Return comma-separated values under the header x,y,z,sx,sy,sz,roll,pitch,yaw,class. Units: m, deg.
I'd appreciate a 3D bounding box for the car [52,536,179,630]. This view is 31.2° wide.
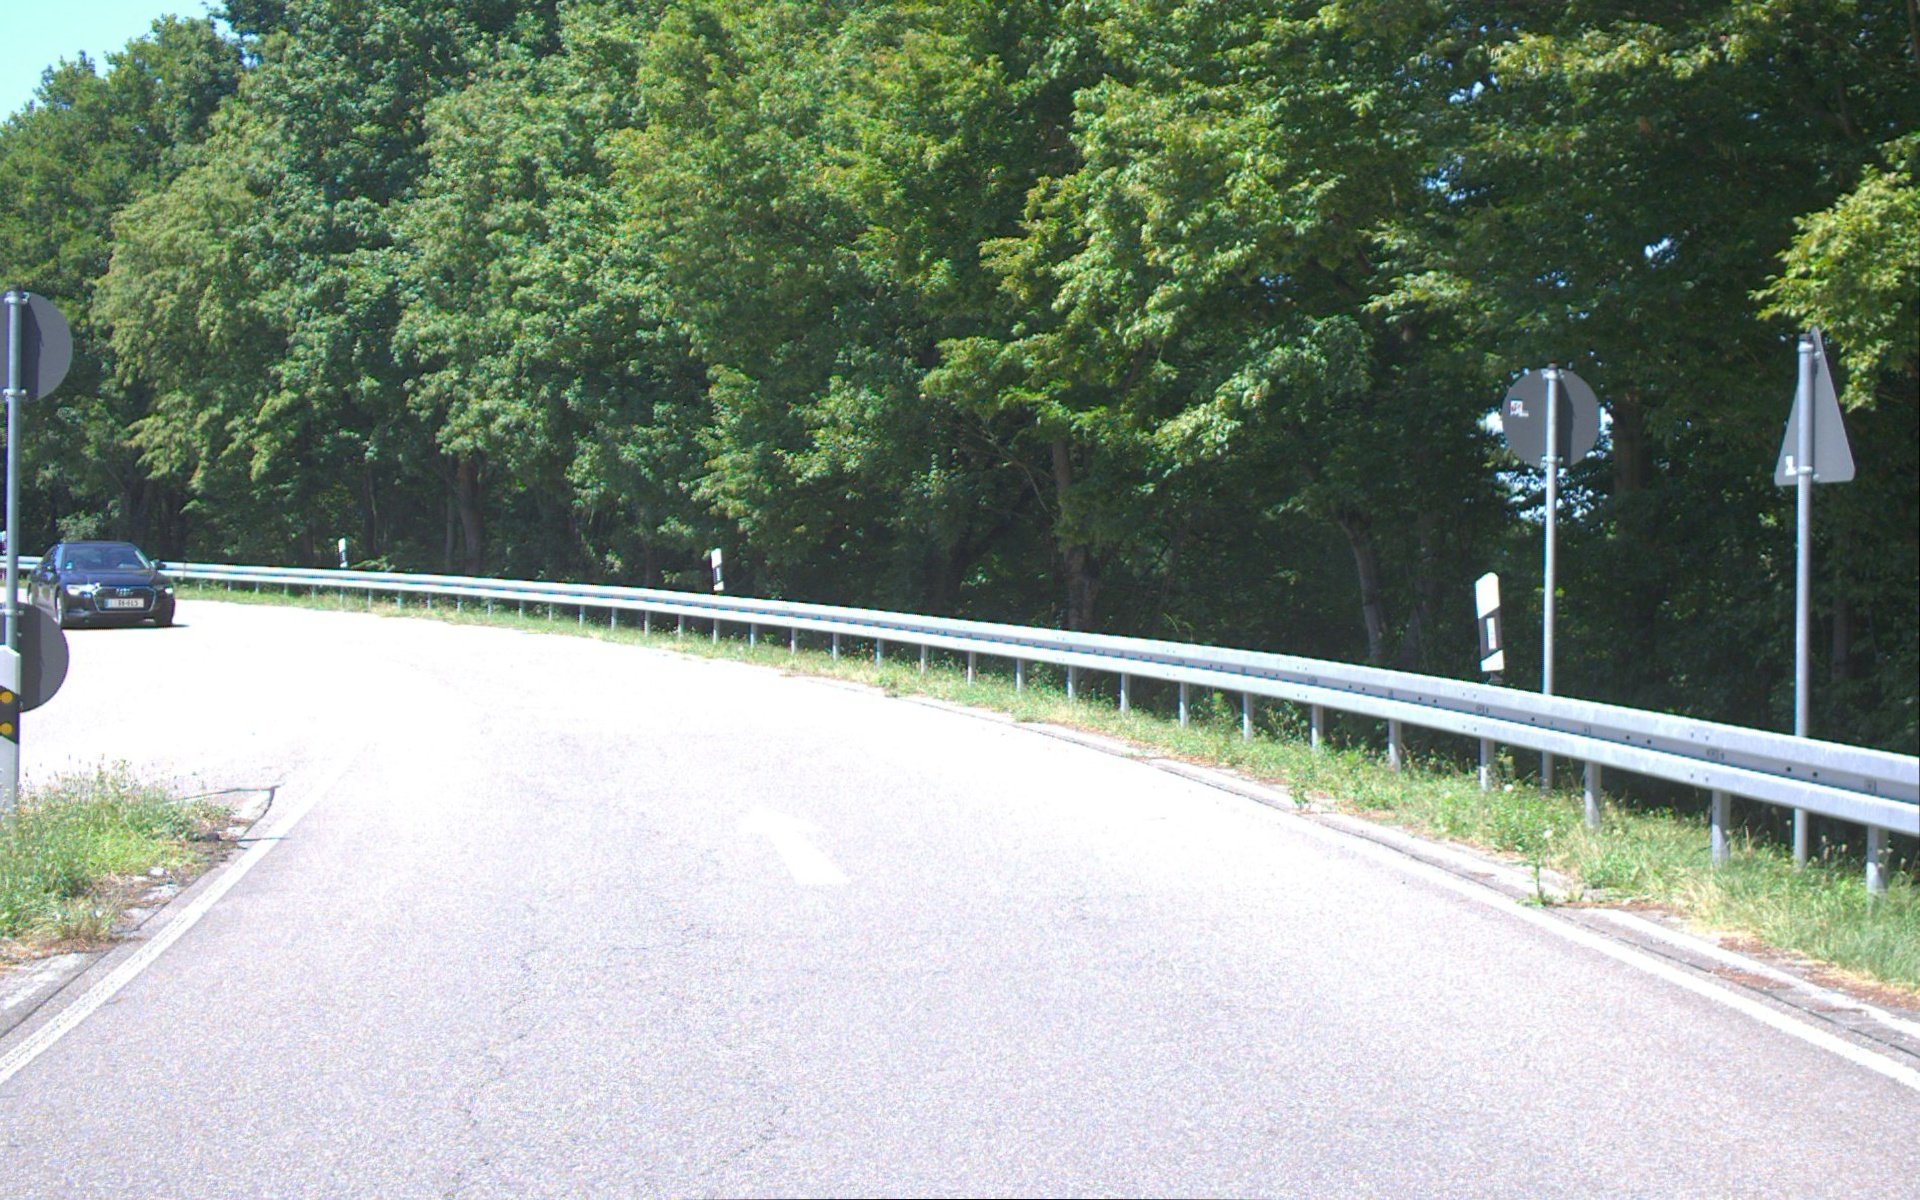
x,y,z,sx,sy,sz,roll,pitch,yaw,class
-14.524,-0.302,58.985,1.802,1.501,4.659,-2,1,-17,car
